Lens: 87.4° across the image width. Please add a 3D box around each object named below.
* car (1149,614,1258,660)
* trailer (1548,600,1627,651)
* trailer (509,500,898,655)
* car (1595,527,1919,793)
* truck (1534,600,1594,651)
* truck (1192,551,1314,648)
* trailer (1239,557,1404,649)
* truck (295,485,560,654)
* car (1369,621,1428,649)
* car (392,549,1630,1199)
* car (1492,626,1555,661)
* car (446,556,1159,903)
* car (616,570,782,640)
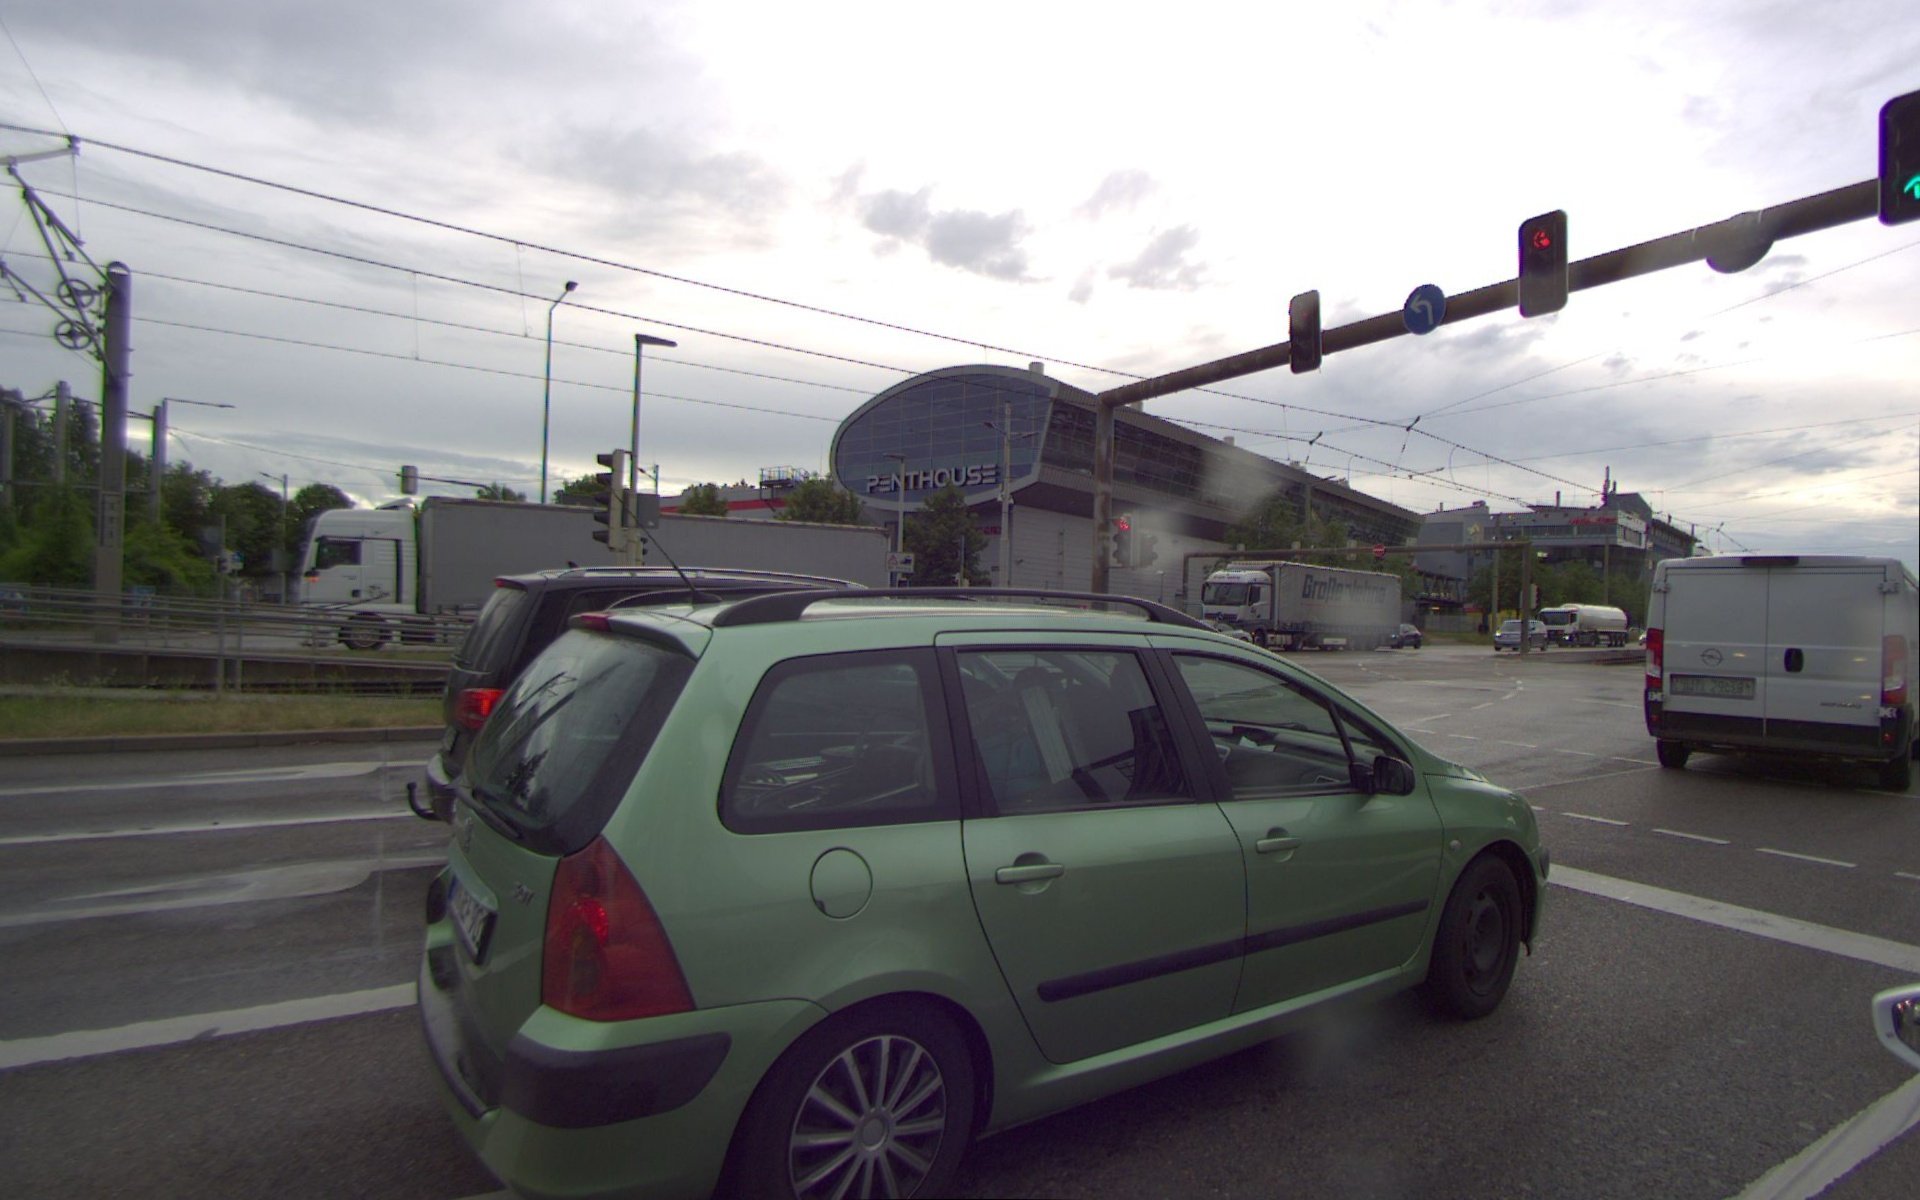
[{"bbox_3d":[9.582,1.454,39.348,4.532,1.576,1.886,2,1,-42],"label":"car"},{"bbox_3d":[52.121,2.202,83.314,11.148,3.905,2.700,3,-2,-43],"label":"trailer"},{"bbox_3d":[-7.573,-0.474,31.072,11.316,4.162,2.779,2,-1,-32],"label":"trailer"},{"bbox_3d":[9.266,0.605,11.380,4.872,2.324,2.421,3,-2,-44],"label":"car"},{"bbox_3d":[47.607,2.015,79.145,5.373,3.855,2.720,3,-3,-43],"label":"truck"},{"bbox_3d":[13.746,0.088,46.887,6.142,4.184,2.641,3,-1,-43],"label":"truck"},{"bbox_3d":[18.930,0.328,51.826,12.660,4.179,2.624,3,-2,-44],"label":"trailer"},{"bbox_3d":[-14.147,-0.651,26.870,5.922,4.049,2.816,2,0,-33],"label":"truck"},{"bbox_3d":[26.757,2.122,61.433,1.959,1.630,4.648,1,-1,6],"label":"car"},{"bbox_3d":[0.519,0.713,3.674,4.359,1.488,1.683,3,1,-35],"label":"car"},{"bbox_3d":[35.393,2.684,62.992,4.873,1.862,1.975,0,3,-43],"label":"car"},{"bbox_3d":[-0.933,0.648,6.432,4.141,1.613,1.719,2,1,-29],"label":"car"},{"bbox_3d":[-7.238,0.147,27.935,4.052,1.674,1.876,3,1,-33],"label":"car"}]
